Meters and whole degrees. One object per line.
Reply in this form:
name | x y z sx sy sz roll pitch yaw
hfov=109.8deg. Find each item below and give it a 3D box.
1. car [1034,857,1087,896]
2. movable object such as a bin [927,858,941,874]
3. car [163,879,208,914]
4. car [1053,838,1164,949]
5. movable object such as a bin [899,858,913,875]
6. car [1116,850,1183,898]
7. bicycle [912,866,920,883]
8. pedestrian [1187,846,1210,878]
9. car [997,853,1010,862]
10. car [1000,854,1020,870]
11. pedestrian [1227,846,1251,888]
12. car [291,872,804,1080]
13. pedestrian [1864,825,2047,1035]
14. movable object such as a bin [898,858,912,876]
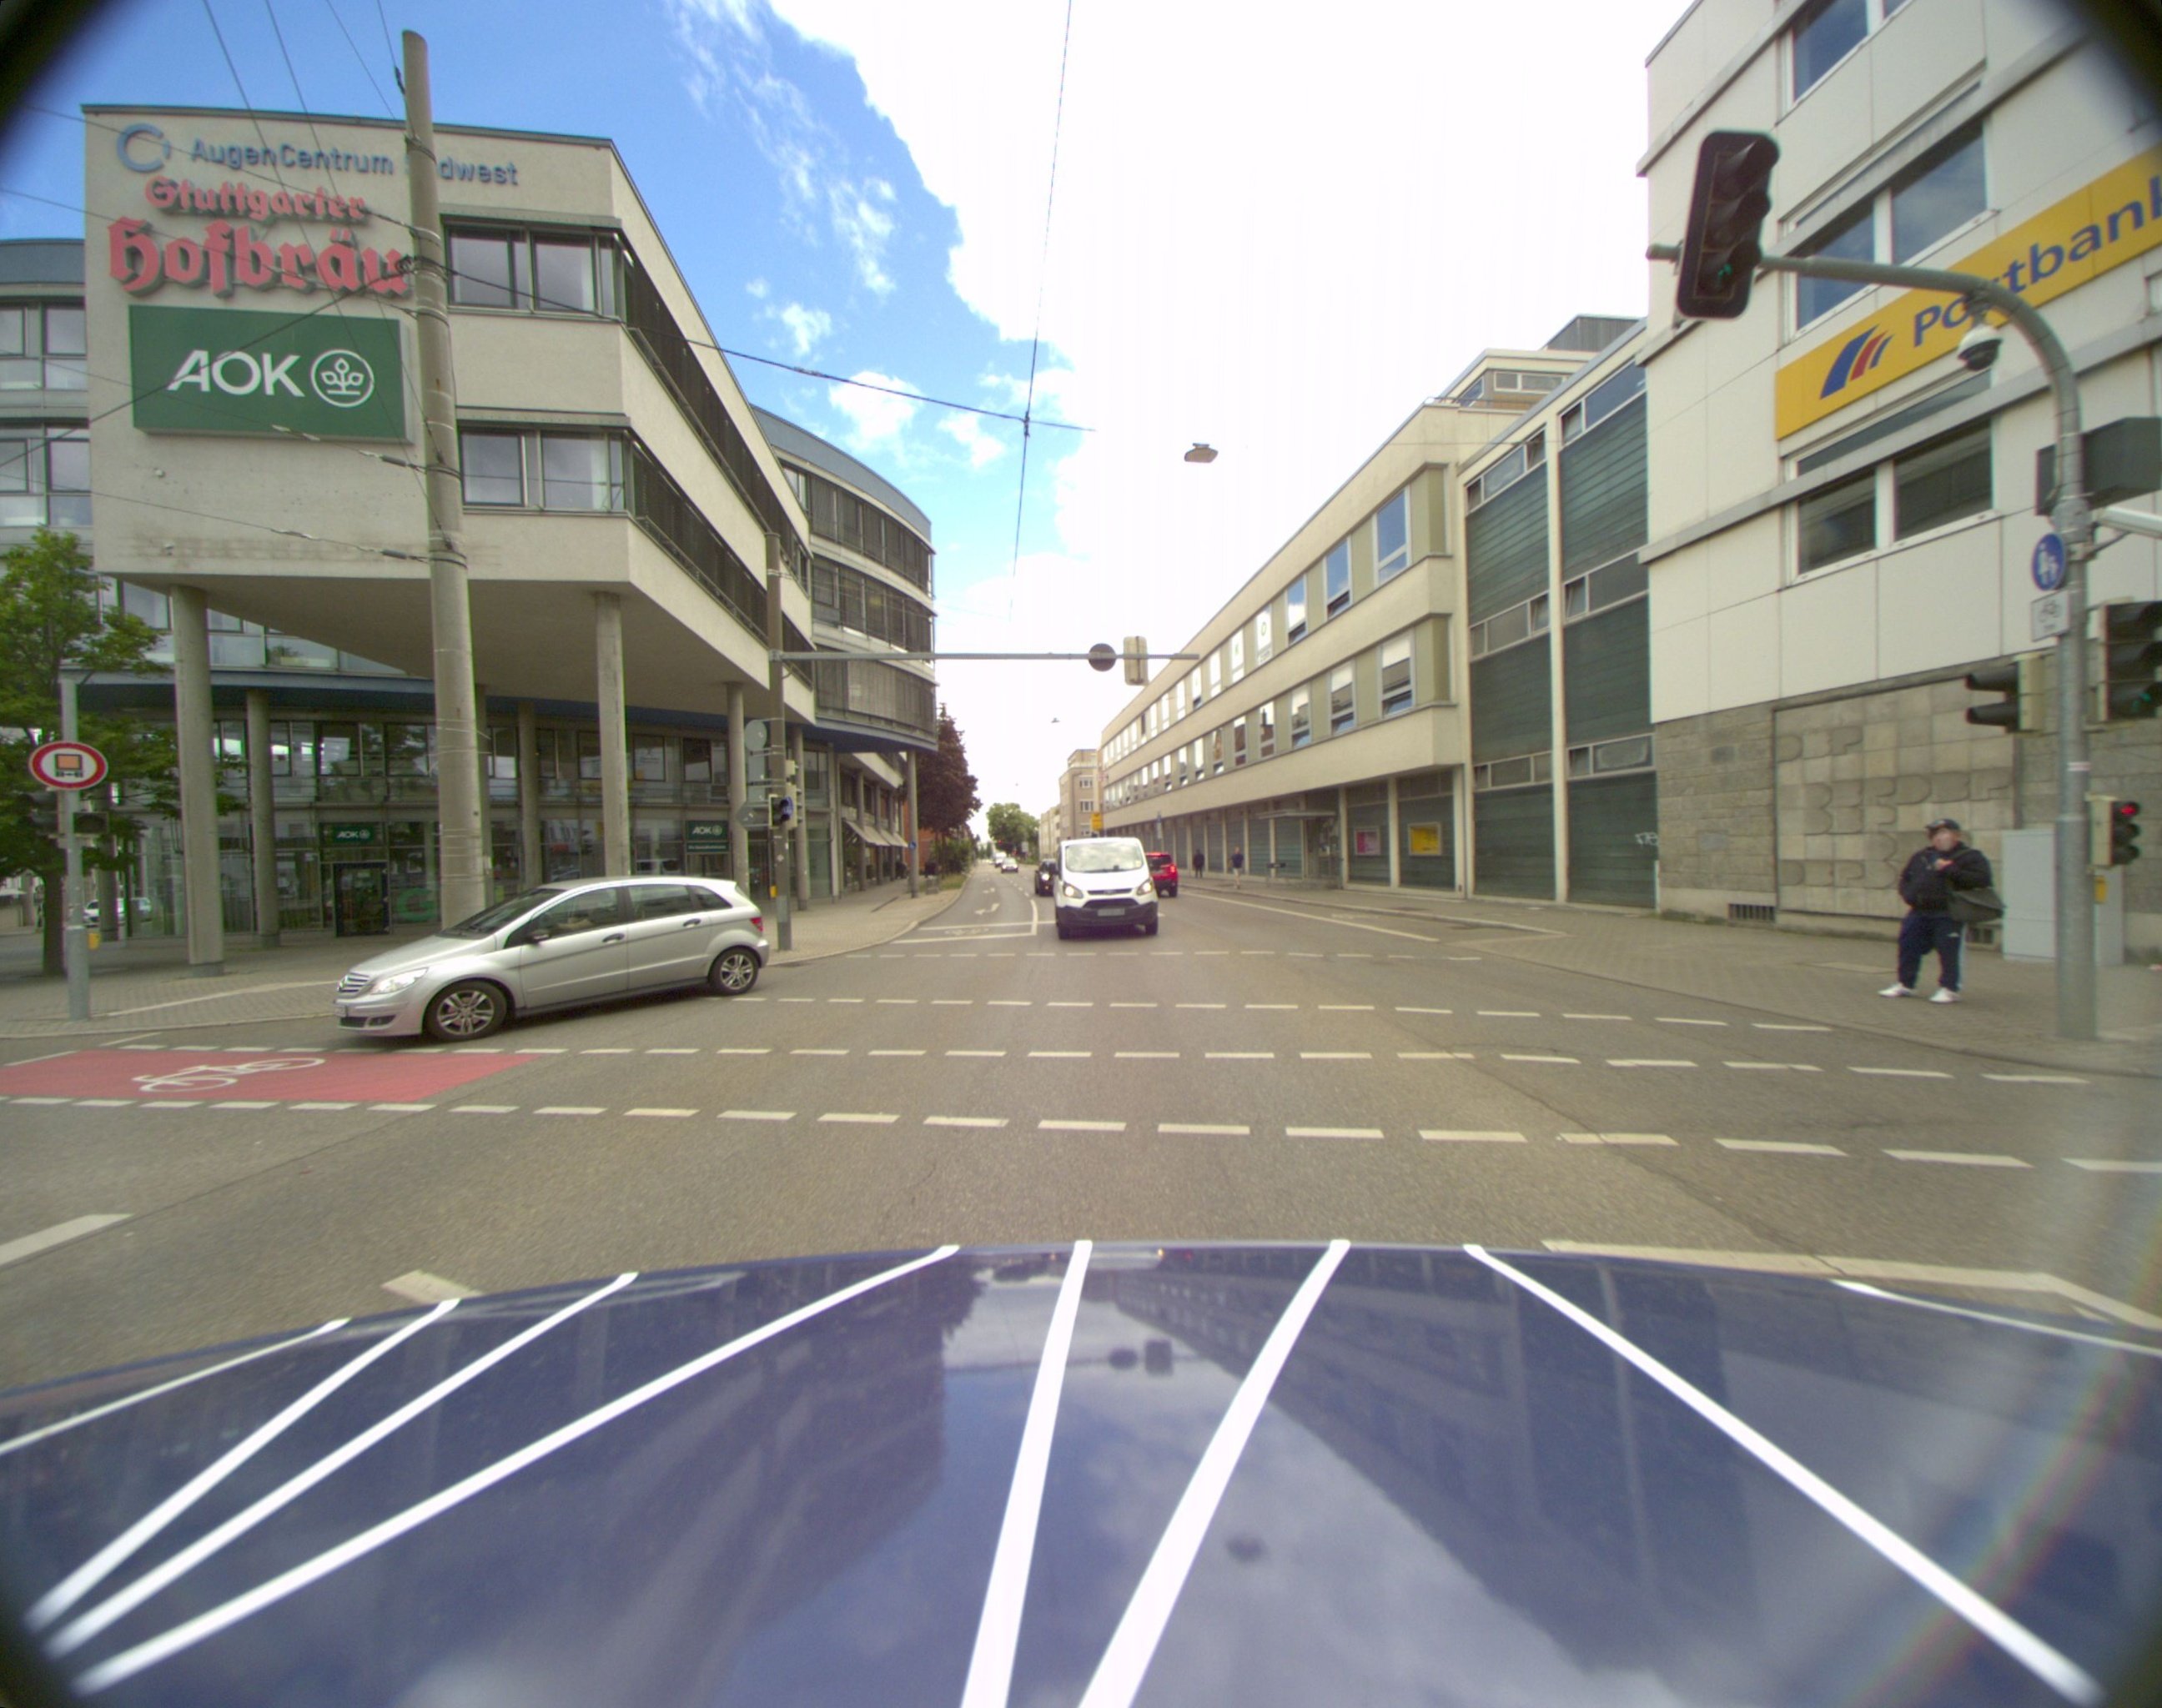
car | -0.973 0.918 33.211 1.966 1.517 4.569 -2 0 -6
movable object such as a bin | -13.036 1.061 67.382 1.131 1.457 1.411 0 1 -9
car | -77.322 3.596 65.649 6.091 2.814 2.170 -2 1 43
car | 0.414 0.725 16.567 1.965 1.986 5.086 -2 0 -3
movable object such as a bin | -15.080 1.090 65.522 1.125 1.457 1.332 0 1 -9
car | 2.548 0.726 29.213 1.805 1.685 3.895 -1 0 -6
bicycle | -11.115 1.393 51.323 0.362 1.080 2.026 -3 1 -9
pedestrian | 6.495 0.455 42.017 0.864 1.708 1.030 -3 1 -9
car | -13.596 0.584 133.369 1.966 1.517 4.568 -2 0 -9
car | -7.594 0.818 81.226 1.966 1.517 4.569 -2 0 -6
pedestrian | 6.494 0.524 31.218 0.591 1.708 1.054 -2 1 -9
car | -6.029 1.182 9.191 1.995 1.537 4.578 -3 1 37
pedestrian | 7.639 0.625 6.678 0.649 1.708 0.783 -3 1 0
movable object such as a bin | -14.867 1.100 64.179 1.101 1.457 1.332 0 1 -9
